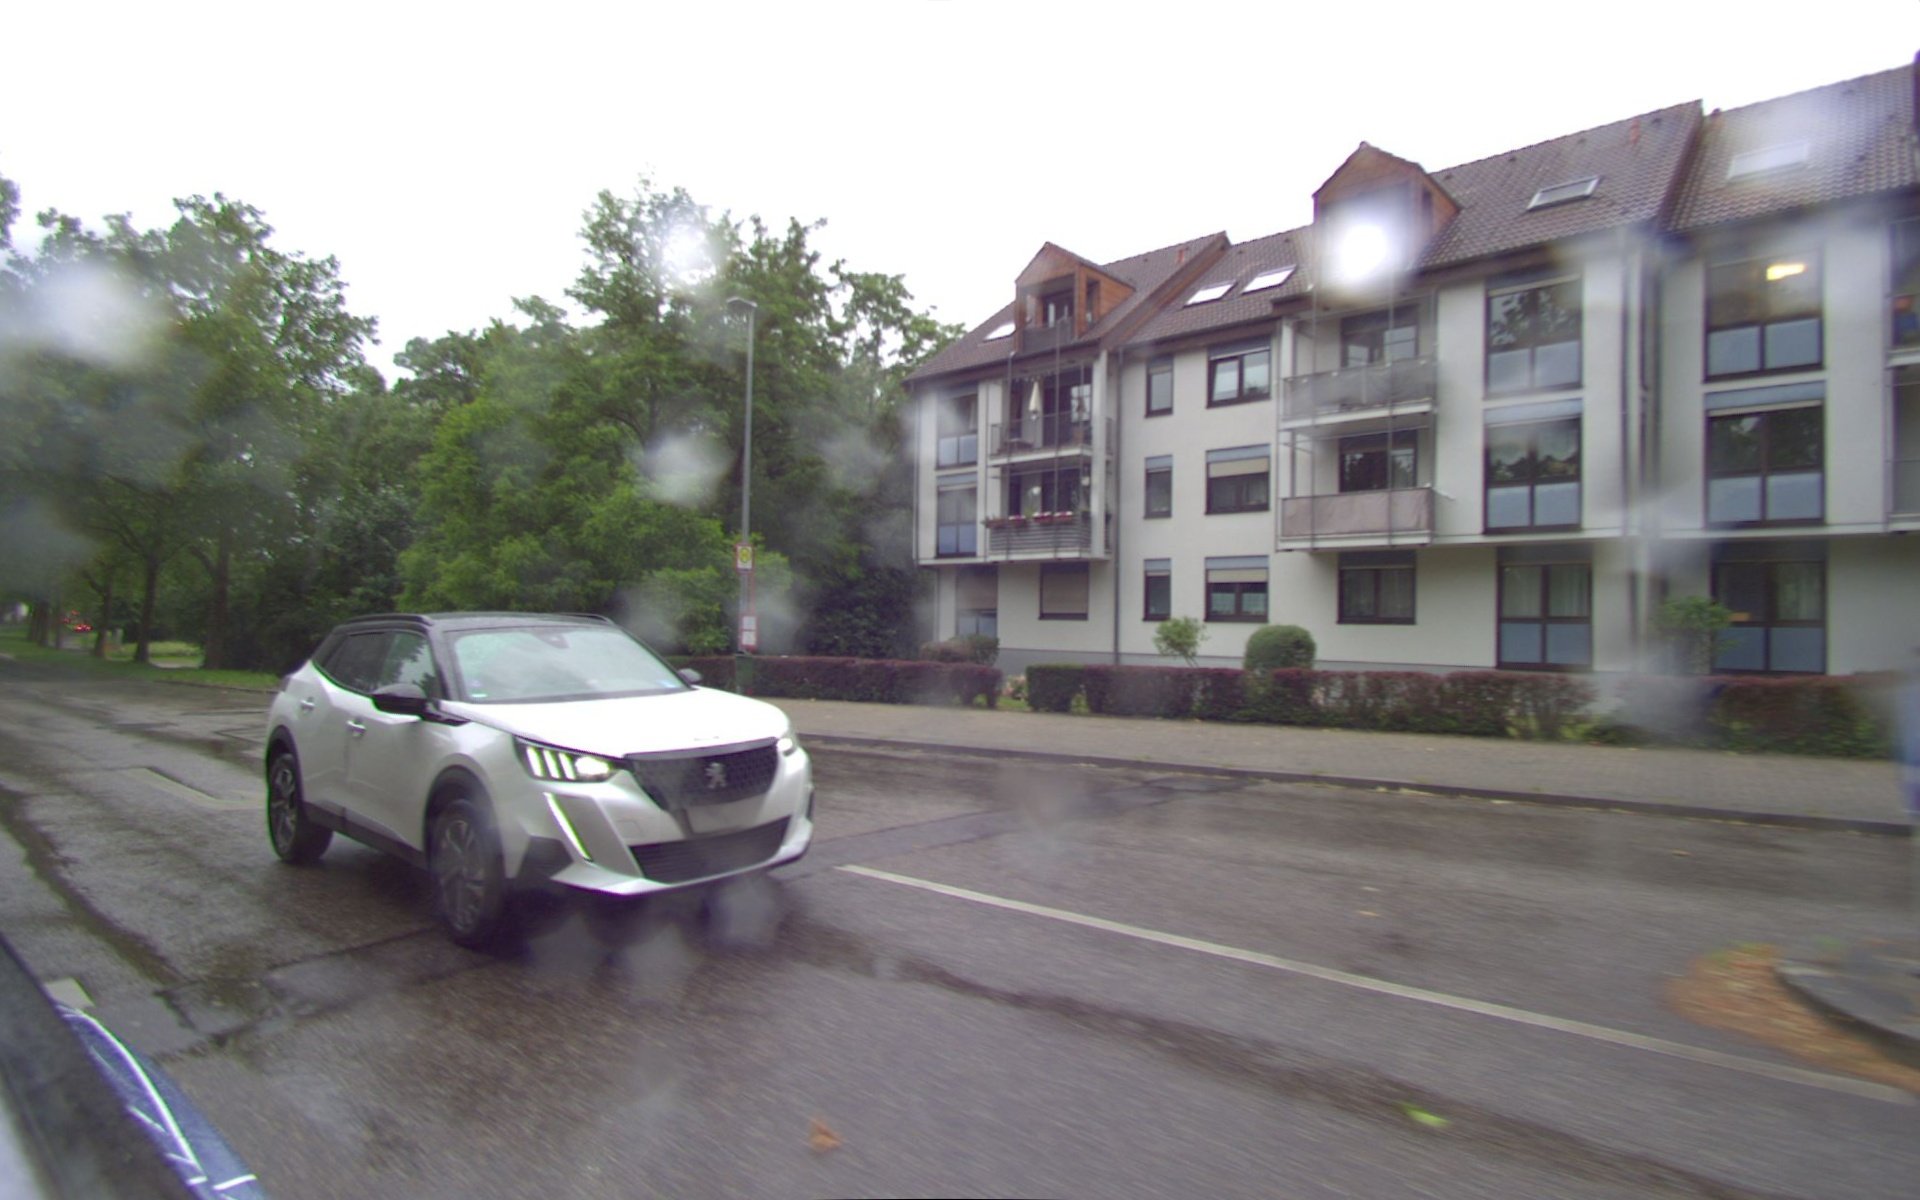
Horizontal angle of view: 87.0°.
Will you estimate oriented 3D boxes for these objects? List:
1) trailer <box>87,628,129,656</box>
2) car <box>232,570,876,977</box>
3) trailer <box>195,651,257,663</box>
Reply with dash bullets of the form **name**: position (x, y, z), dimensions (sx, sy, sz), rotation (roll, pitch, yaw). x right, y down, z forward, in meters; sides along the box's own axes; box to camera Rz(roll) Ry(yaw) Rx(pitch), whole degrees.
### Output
- **trailer**: position (-86.602, 4.260, 102.829), dimensions (2.765, 2.684, 6.658), rotation (4, -3, -44)
- **car**: position (-2.638, 0.744, 5.983), dimensions (4.365, 1.547, 1.734), rotation (-2, -4, 41)
- **trailer**: position (-68.691, 5.326, 94.719), dimensions (2.382, 1.040, 4.268), rotation (0, -2, 43)
